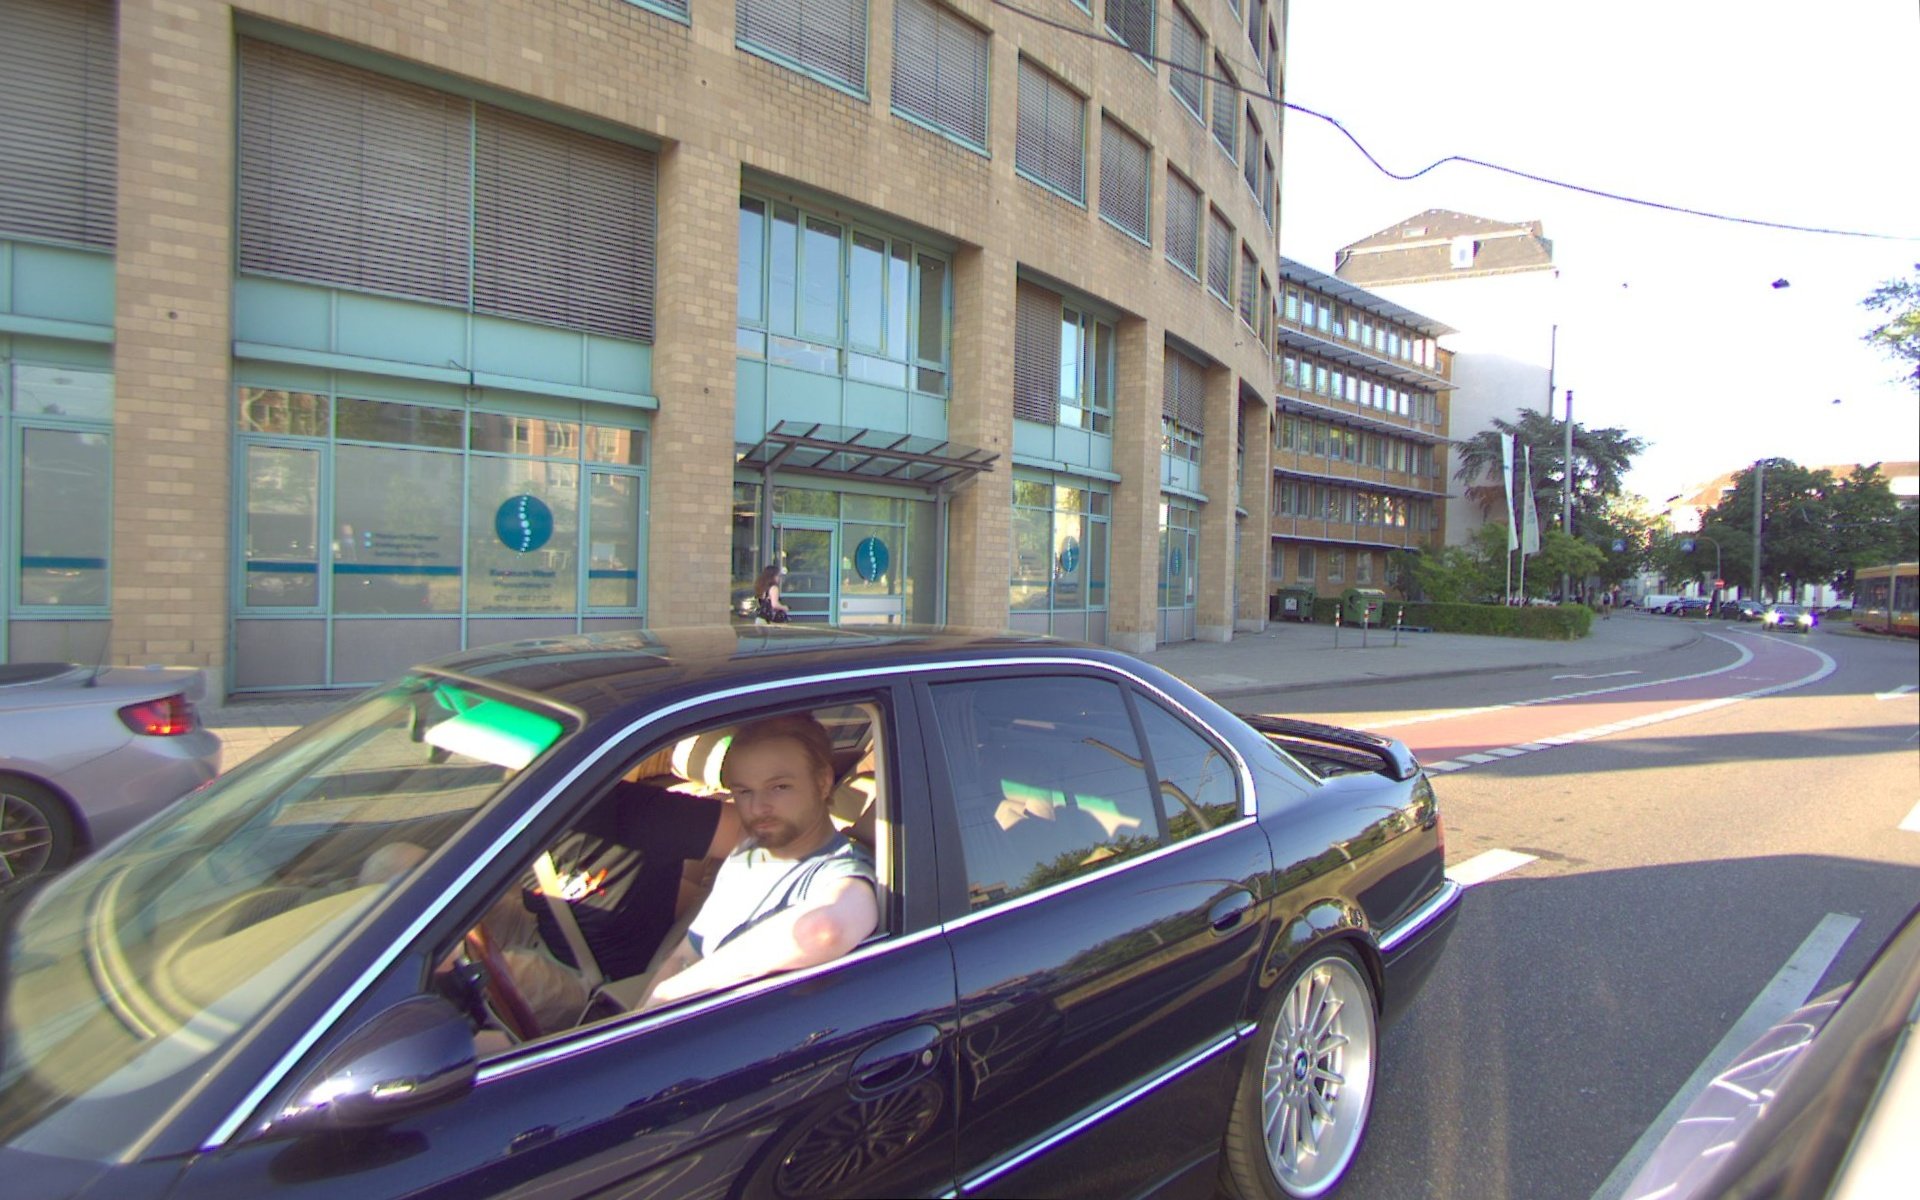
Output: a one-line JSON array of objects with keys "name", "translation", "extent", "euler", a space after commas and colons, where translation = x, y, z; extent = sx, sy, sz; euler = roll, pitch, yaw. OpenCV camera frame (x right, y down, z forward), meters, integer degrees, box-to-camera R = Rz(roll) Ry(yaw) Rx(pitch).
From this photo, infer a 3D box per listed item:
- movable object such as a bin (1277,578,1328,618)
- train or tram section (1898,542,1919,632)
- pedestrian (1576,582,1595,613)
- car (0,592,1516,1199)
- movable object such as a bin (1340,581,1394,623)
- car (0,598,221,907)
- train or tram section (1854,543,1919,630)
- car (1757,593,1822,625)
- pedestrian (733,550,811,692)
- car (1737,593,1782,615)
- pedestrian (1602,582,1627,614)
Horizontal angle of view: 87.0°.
[{"name": "movable object such as a bin", "translation": [13.352, -0.084, 39.501], "extent": [1.310, 1.477, 1.425], "euler": [0, 1, -43]}, {"name": "train or tram section", "translation": [39.670, -0.449, 38.310], "extent": [2.893, 3.785, 13.084], "euler": [2, 1, 29]}, {"name": "pedestrian", "translation": [37.422, -0.124, 60.558], "extent": [0.711, 1.830, 0.728], "euler": [0, 1, -41]}, {"name": "car", "translation": [-0.713, 0.698, 2.324], "extent": [4.656, 1.402, 1.997], "euler": [0, 1, -41]}, {"name": "movable object such as a bin", "translation": [14.847, 0.069, 36.934], "extent": [1.311, 1.477, 1.424], "euler": [0, 1, -45]}, {"name": "car", "translation": [-5.910, 0.696, 4.467], "extent": [4.153, 1.403, 1.746], "euler": [0, 0, -41]}, {"name": "train or tram section", "translation": [45.883, -0.627, 48.517], "extent": [2.867, 3.785, 12.035], "euler": [2, 1, 34]}, {"name": "car", "translation": [42.684, 0.436, 52.184], "extent": [1.985, 1.479, 4.097], "euler": [2, 1, 31]}, {"name": "pedestrian", "translation": [-2.341, 0.241, 12.583], "extent": [0.702, 1.702, 0.626], "euler": [0, 1, -44]}, {"name": "car", "translation": [53.344, 0.247, 67.510], "extent": [3.932, 1.405, 1.756], "euler": [0, -1, -42]}, {"name": "pedestrian", "translation": [39.699, -0.111, 61.374], "extent": [0.898, 1.918, 1.121], "euler": [1, 1, 14]}]
